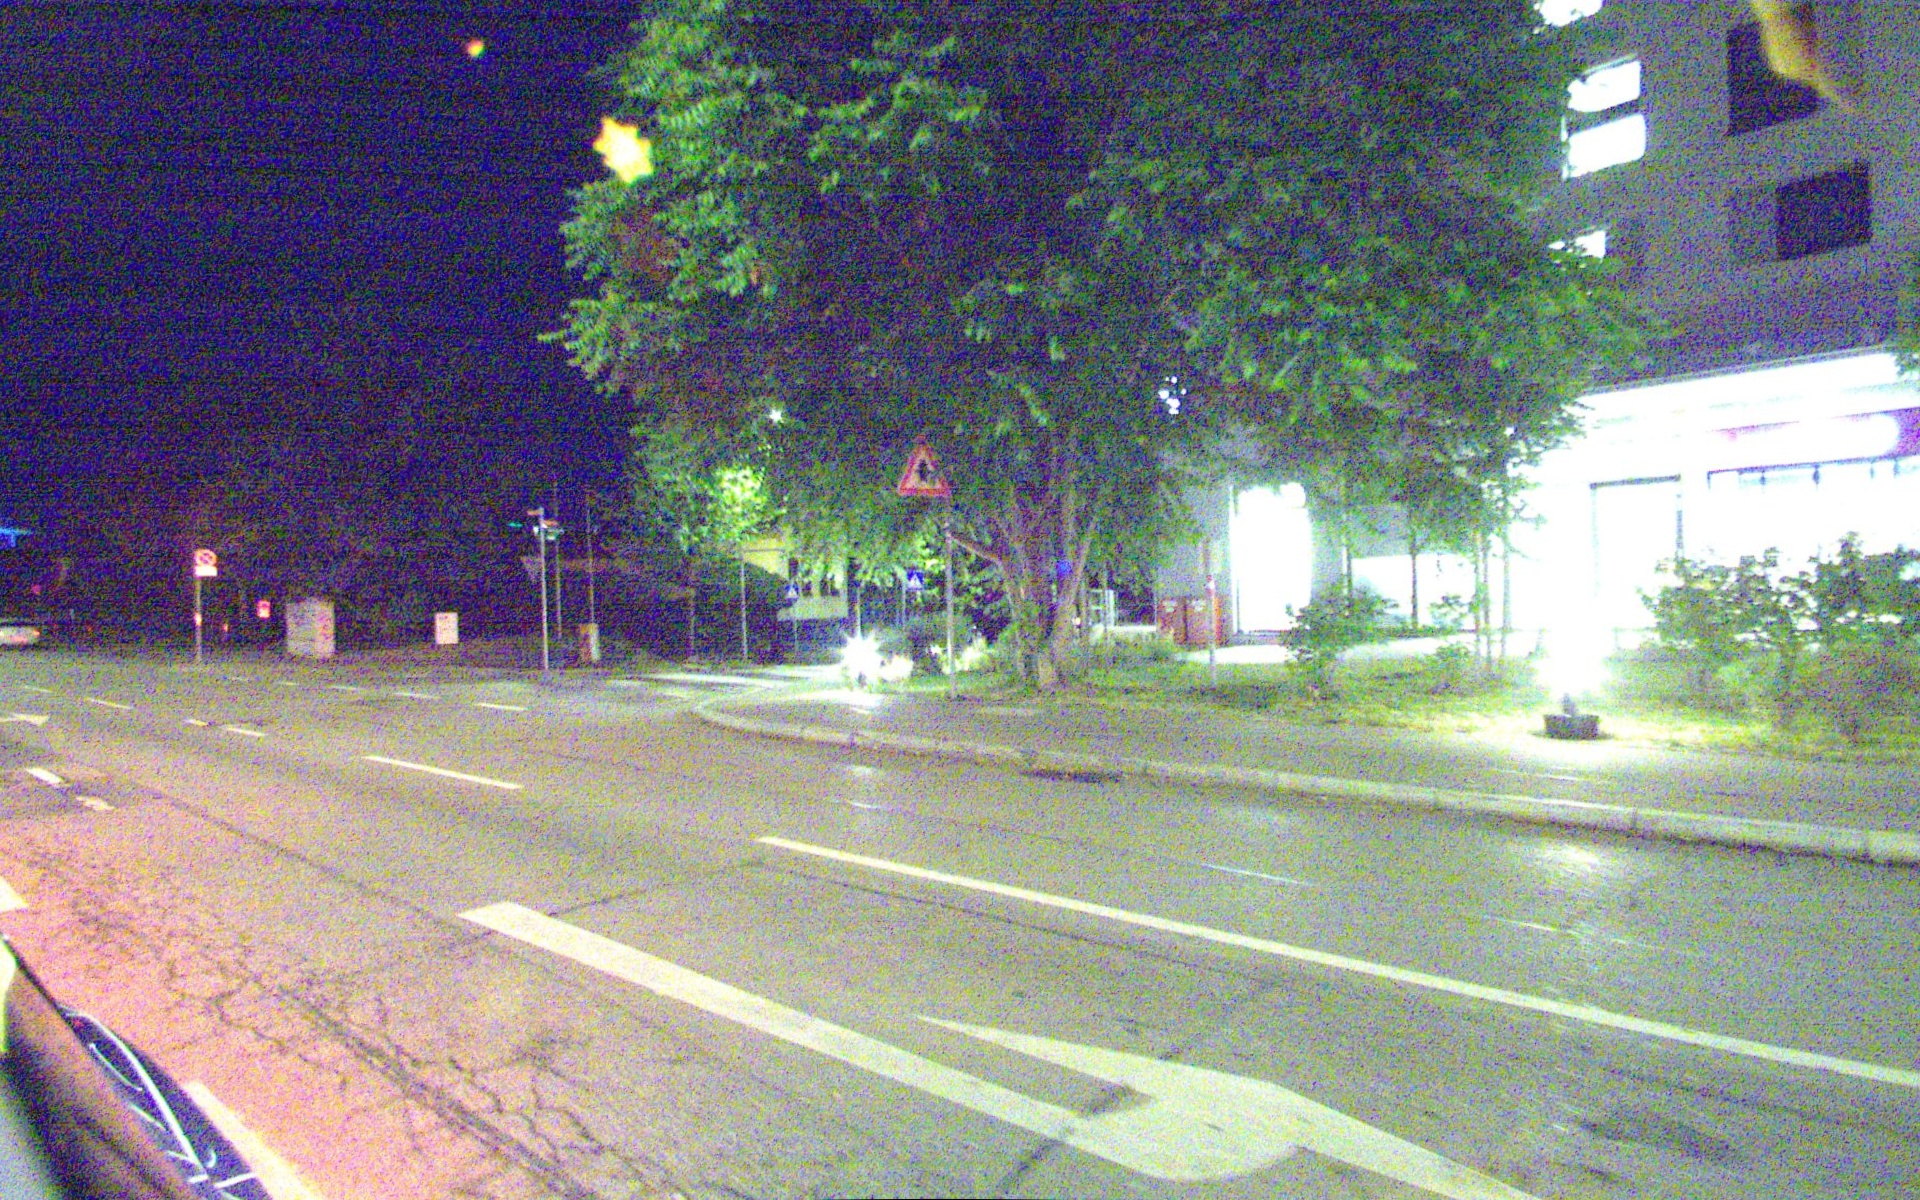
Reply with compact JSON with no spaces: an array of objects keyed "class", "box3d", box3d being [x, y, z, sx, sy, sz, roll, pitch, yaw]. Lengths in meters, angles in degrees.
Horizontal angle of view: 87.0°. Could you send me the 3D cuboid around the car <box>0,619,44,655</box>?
[{"class":"car","box3d":[-42.914,1.635,45.680,3.999,1.464,1.886,0,1,41]}]
